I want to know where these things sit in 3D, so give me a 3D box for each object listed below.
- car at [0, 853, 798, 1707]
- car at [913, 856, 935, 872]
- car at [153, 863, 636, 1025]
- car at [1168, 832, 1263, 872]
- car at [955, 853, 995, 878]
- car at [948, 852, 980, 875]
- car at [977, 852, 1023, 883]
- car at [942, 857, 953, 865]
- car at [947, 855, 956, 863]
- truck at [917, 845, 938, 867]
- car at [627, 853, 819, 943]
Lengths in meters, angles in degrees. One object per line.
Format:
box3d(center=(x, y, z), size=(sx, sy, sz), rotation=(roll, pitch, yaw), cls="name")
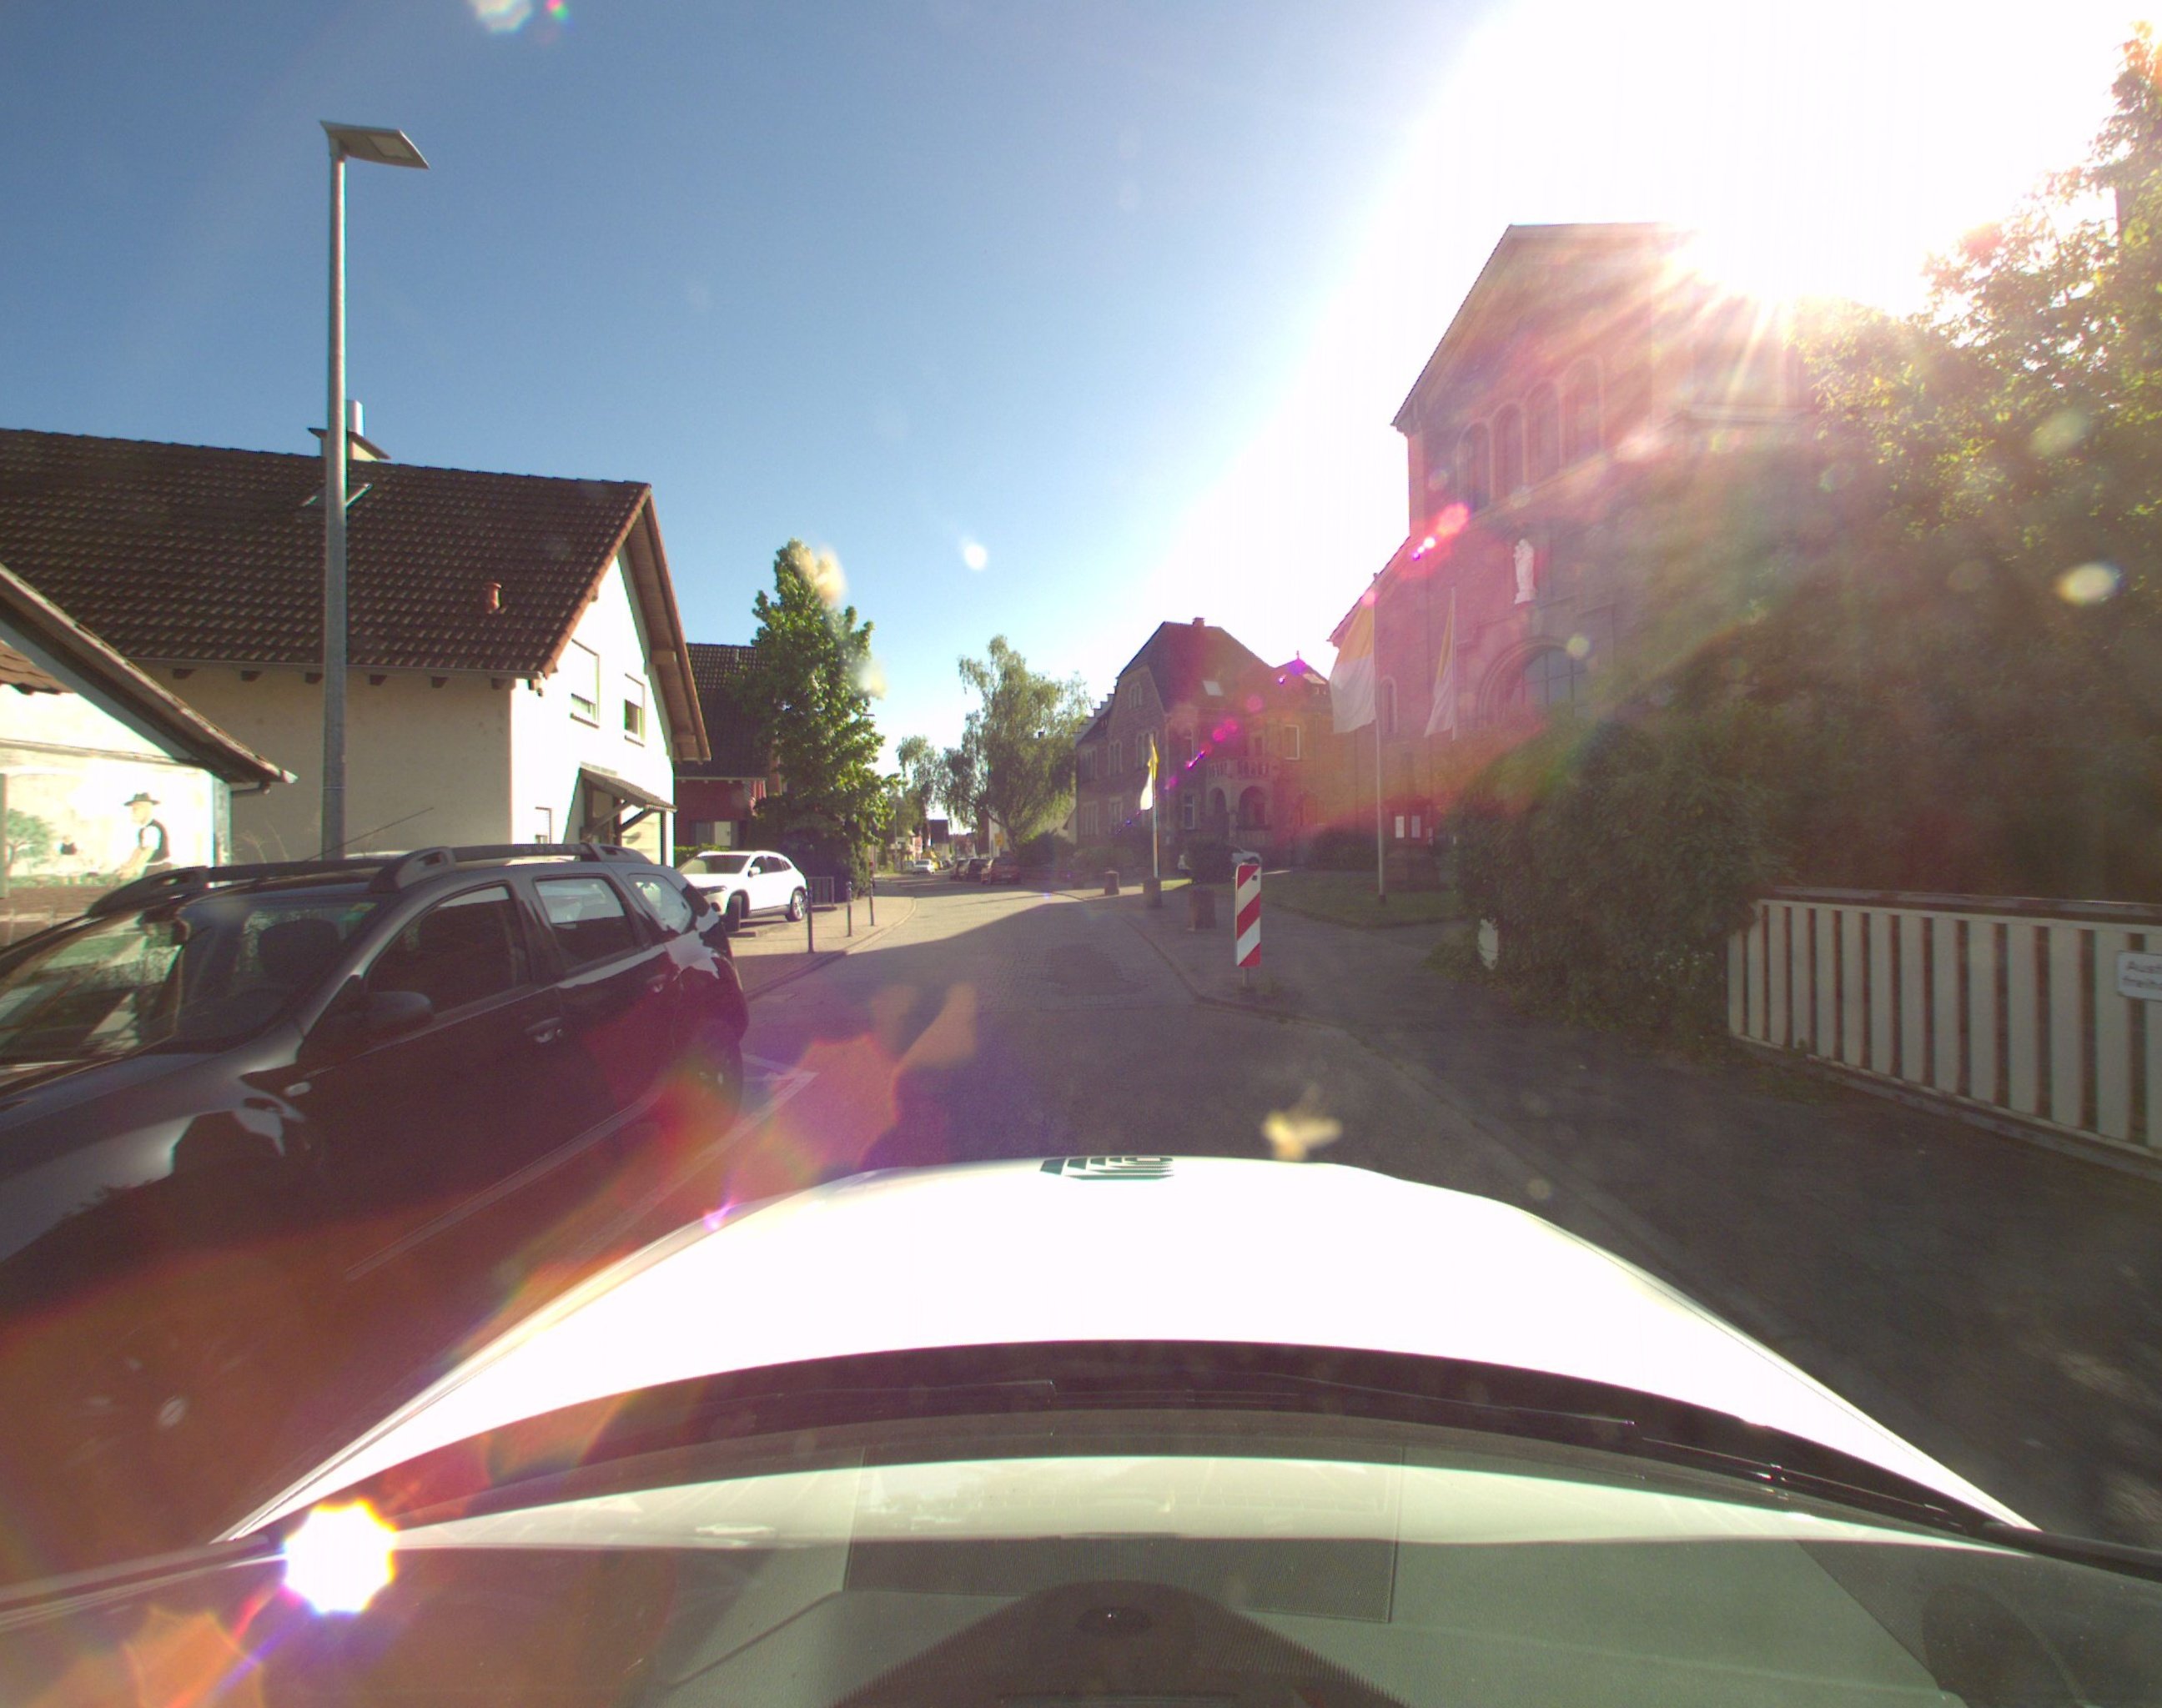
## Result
box3d(center=(-2.890, 0.907, 3.223), size=(1.826, 1.671, 4.353), rotation=(-5, 0, 1), cls="car")
box3d(center=(-15.206, 0.978, 79.021), size=(1.668, 1.402, 3.885), rotation=(-3, 1, -5), cls="car")
box3d(center=(-7.940, 0.950, 9.936), size=(3.992, 1.589, 1.991), rotation=(-1, 1, -14), cls="car")
box3d(center=(6.346, -0.093, 38.384), size=(3.915, 1.496, 1.890), rotation=(-6, 0, -23), cls="car")
box3d(center=(-6.718, 0.672, 51.369), size=(1.812, 1.436, 4.261), rotation=(-1, 1, -17), cls="car")
box3d(center=(-8.067, 0.630, 55.877), size=(1.809, 1.436, 4.266), rotation=(-1, 1, -13), cls="car")
box3d(center=(-4.359, 0.679, 43.294), size=(1.652, 1.478, 3.911), rotation=(-1, 1, -17), cls="car")
box3d(center=(-22.669, 1.192, 138.172), size=(1.587, 1.443, 3.605), rotation=(-1, 0, -8), cls="car")
box3d(center=(-23.849, 0.866, 150.011), size=(1.587, 1.443, 3.605), rotation=(-1, 0, -8), cls="car")
box3d(center=(-21.894, 0.302, 116.037), size=(2.264, 2.868, 5.773), rotation=(-2, 0, -5), cls="truck")
box3d(center=(-7.406, 0.823, 17.407), size=(1.808, 1.595, 4.452), rotation=(-1, 1, 5), cls="car")
